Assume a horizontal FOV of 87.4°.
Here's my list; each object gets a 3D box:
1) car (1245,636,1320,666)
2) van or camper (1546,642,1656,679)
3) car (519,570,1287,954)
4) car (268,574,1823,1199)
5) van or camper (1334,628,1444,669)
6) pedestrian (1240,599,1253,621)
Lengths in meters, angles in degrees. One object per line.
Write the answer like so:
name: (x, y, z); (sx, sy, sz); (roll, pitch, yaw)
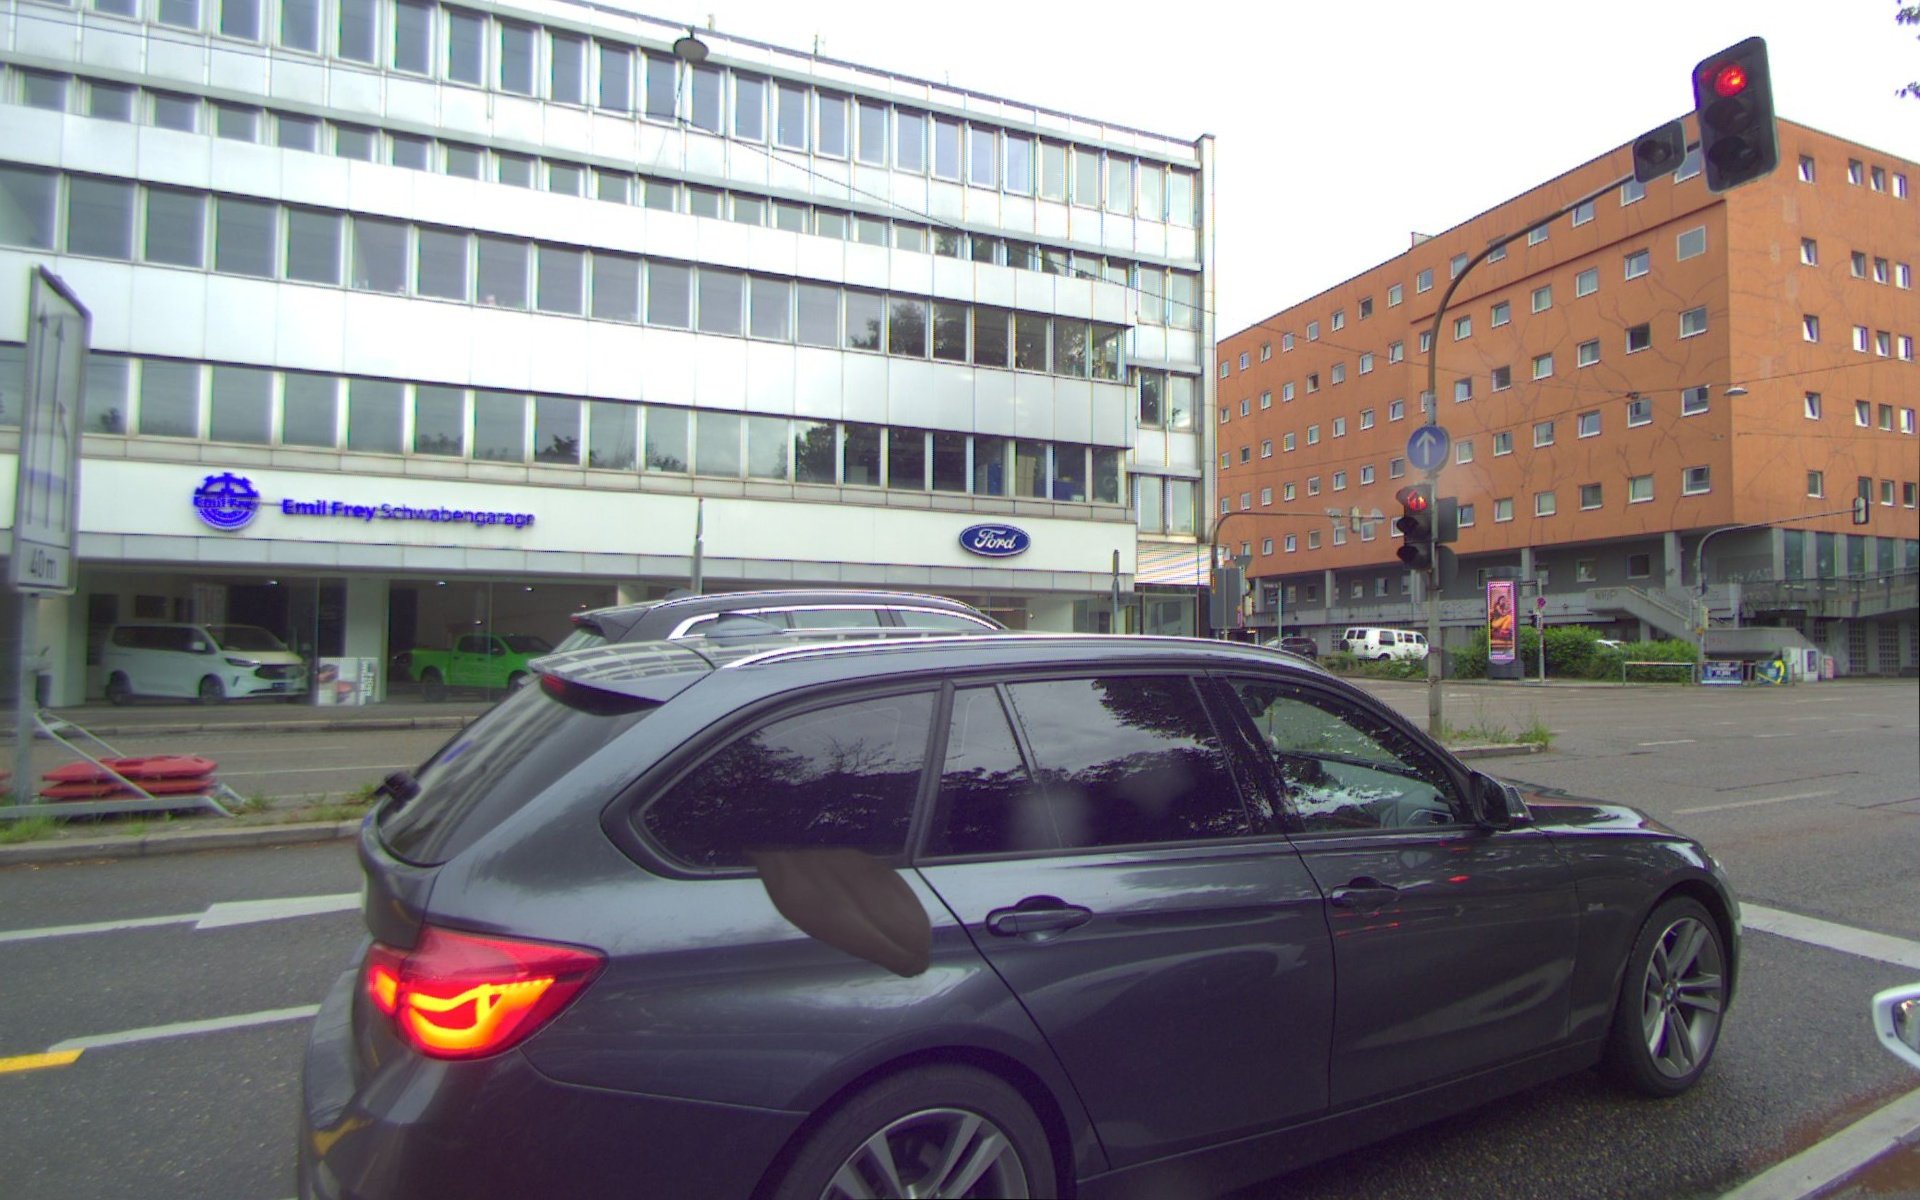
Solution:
car: (18.974, 3.000, 59.018); (4.027, 1.633, 1.706); (2, 0, -23)
van or camper: (29.880, 2.791, 46.955); (1.887, 1.648, 3.978); (1, -2, -23)
car: (-0.263, 0.765, 6.228); (4.389, 1.678, 1.802); (2, 0, -28)
car: (0.619, 0.795, 3.150); (4.424, 1.477, 1.769); (2, -3, -30)
van or camper: (22.385, 2.525, 52.394); (5.376, 2.004, 2.121); (2, 0, -23)
pedestrian: (24.804, 0.852, 87.057); (0.714, 1.864, 0.761); (2, 0, -21)
